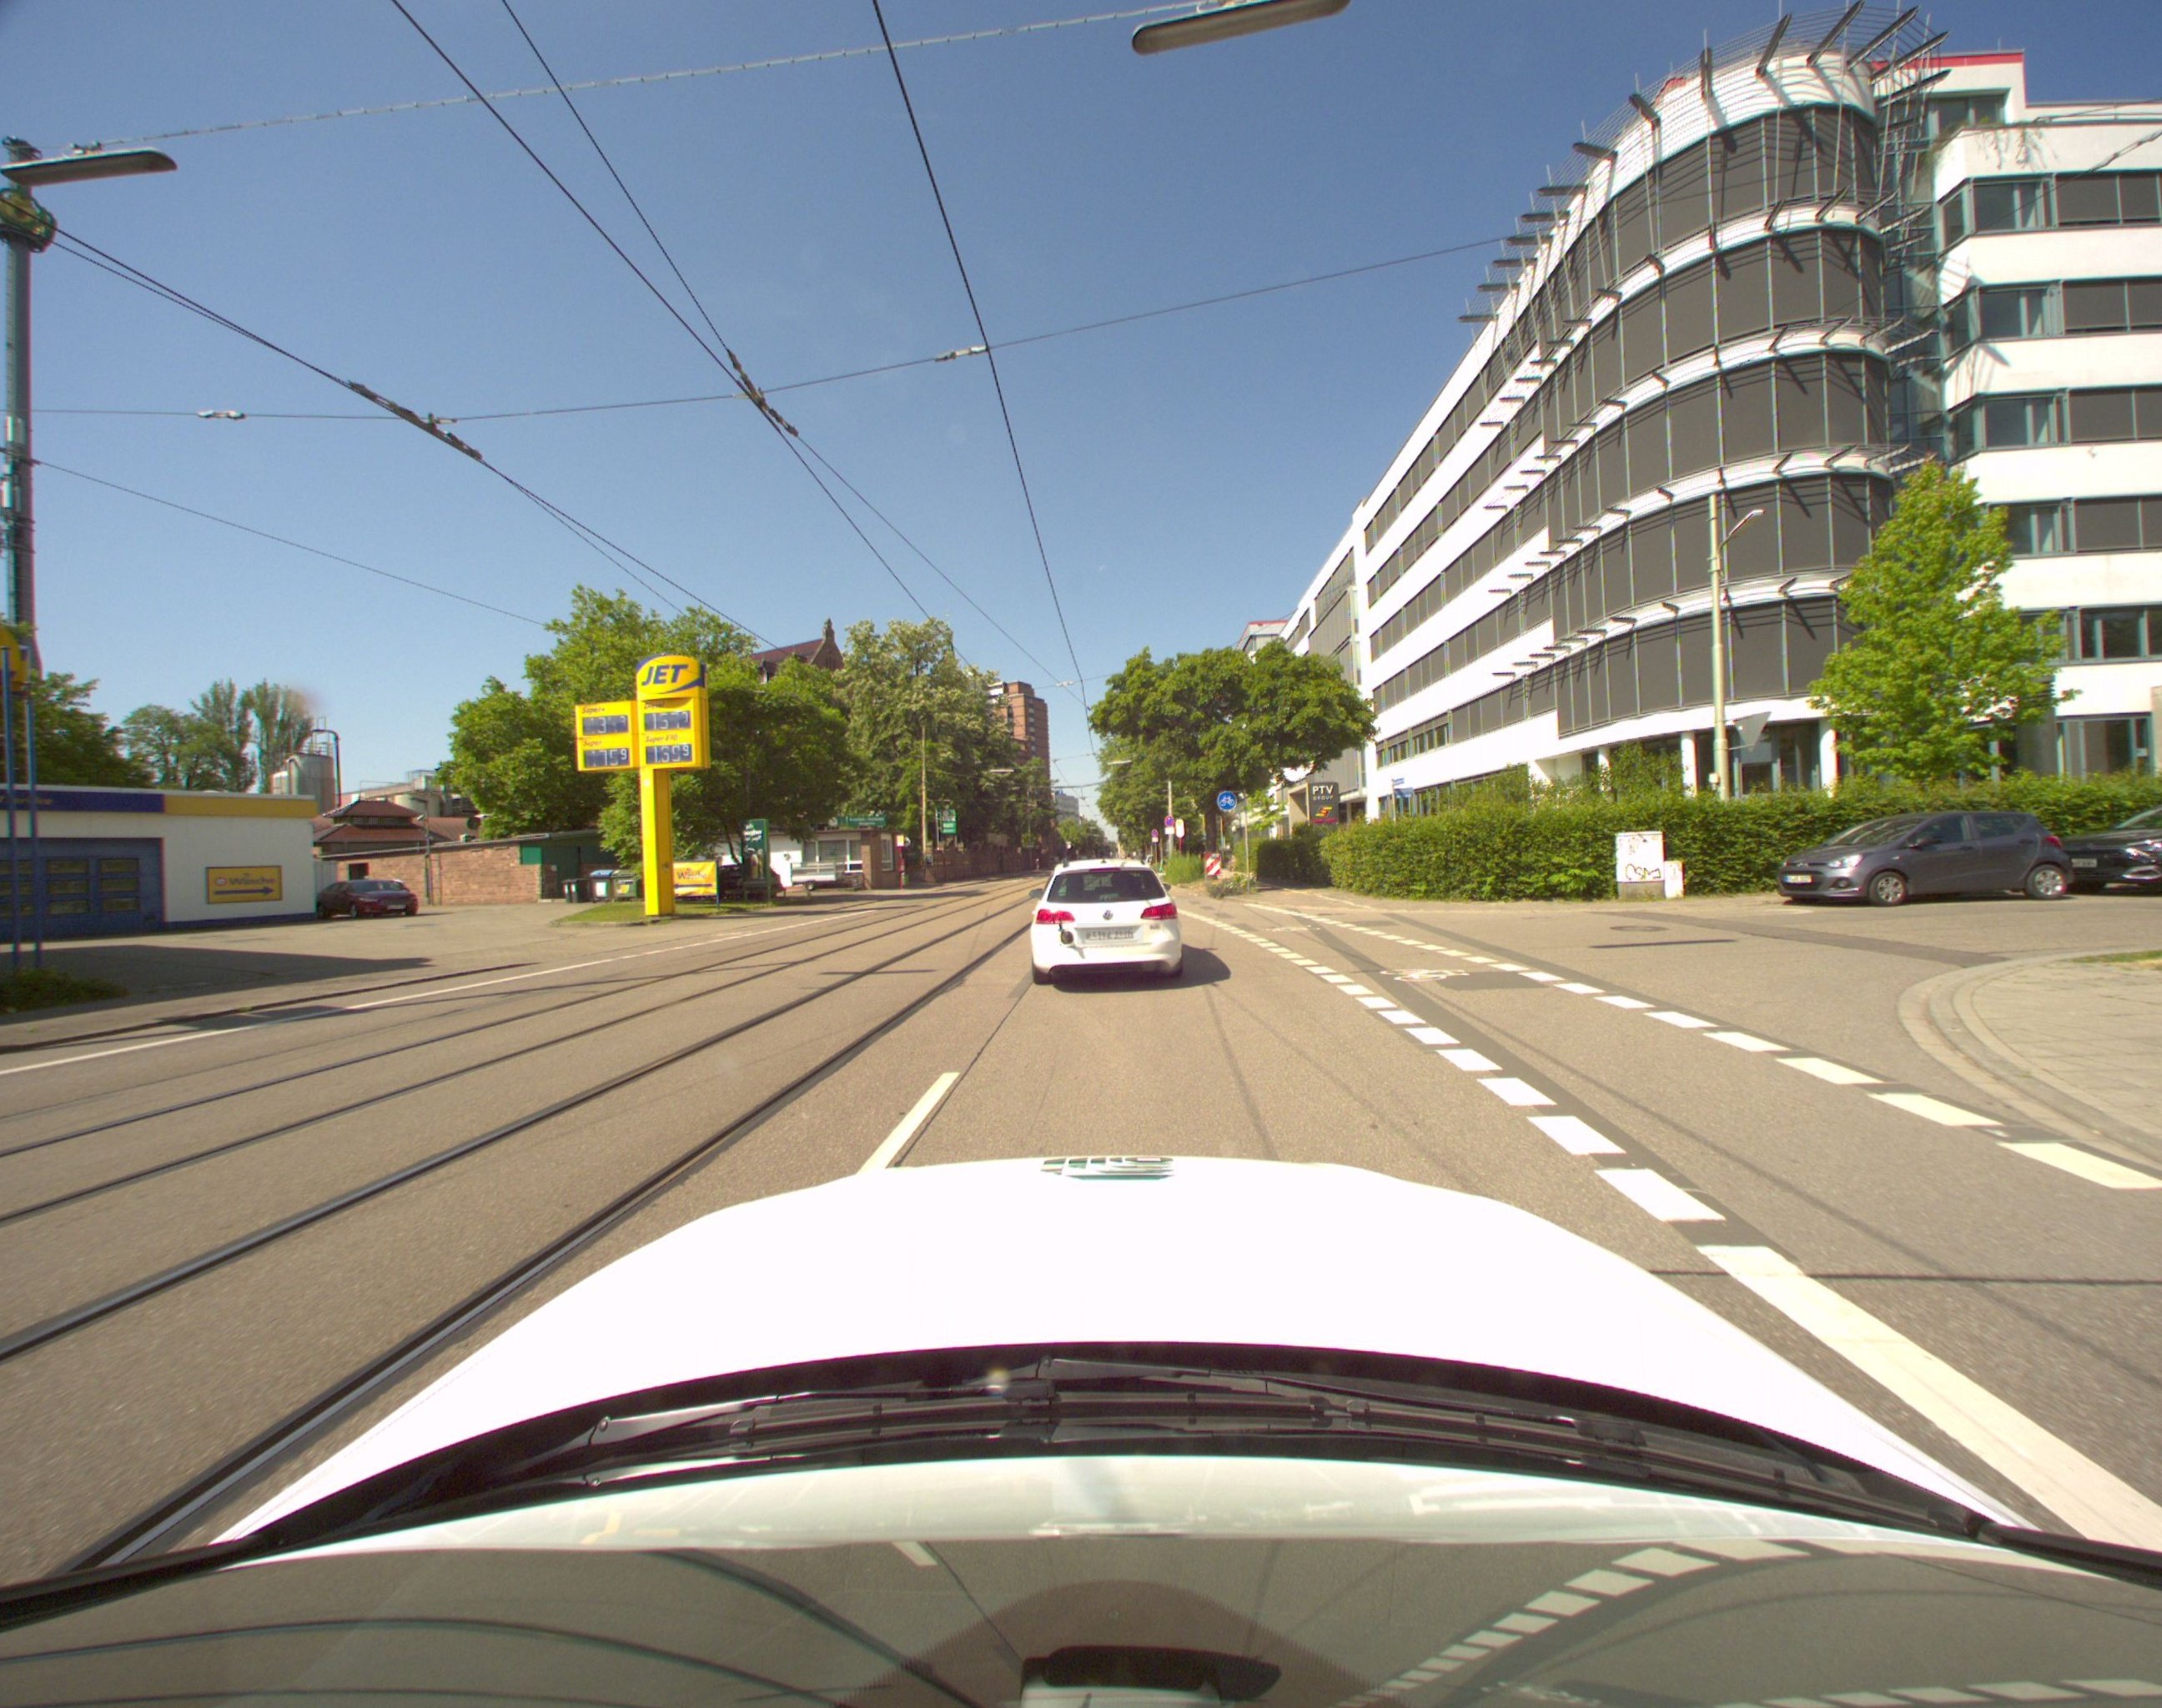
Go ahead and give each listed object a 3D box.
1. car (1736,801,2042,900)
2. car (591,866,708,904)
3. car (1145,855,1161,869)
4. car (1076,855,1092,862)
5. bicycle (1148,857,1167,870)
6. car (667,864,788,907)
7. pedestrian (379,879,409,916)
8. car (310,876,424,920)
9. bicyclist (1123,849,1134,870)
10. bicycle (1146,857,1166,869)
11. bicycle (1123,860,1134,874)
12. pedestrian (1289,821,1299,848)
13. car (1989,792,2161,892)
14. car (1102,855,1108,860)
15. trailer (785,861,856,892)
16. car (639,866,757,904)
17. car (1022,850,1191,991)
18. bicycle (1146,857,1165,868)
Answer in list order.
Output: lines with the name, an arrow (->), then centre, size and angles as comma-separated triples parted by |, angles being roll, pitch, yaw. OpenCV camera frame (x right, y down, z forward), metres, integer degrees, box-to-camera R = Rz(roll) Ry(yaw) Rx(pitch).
car -> 13.825, -0.053, 14.098 | 3.578, 1.473, 1.594 | -3, 0, 3
car -> -20.745, 1.467, 39.282 | 4.604, 1.583, 1.926 | -2, 0, -42
car -> 7.673, 0.830, 87.494 | 1.583, 1.451, 3.950 | -3, 0, 4
car -> 0.866, 1.218, 240.178 | 4.015, 1.816, 1.979 | -3, -1, -33
bicycle -> 7.194, 0.877, 76.592 | 1.768, 1.083, 0.596 | -3, -1, 0
car -> -15.841, 1.376, 36.657 | 4.604, 1.625, 1.926 | -2, 0, -43
pedestrian -> -28.253, 1.799, 33.497 | 0.672, 1.468, 0.641 | -2, -1, 12
car -> -27.230, 1.672, 31.040 | 4.118, 1.527, 1.949 | -2, -1, 28
bicyclist -> 3.772, 0.460, 65.050 | 0.782, 1.629, 0.739 | -3, -3, 3
bicycle -> 7.539, 0.894, 81.581 | 1.905, 1.083, 0.551 | -1, -1, 0
bicycle -> 3.772, 1.036, 64.879 | 0.807, 1.078, 2.014 | -2, 0, 4
pedestrian -> 14.086, -1.272, 53.890 | 0.496, 1.728, 0.547 | -2, -1, 2
car -> 18.279, -0.250, 13.691 | 3.970, 1.547, 1.659 | -3, 0, 3
car -> 7.164, 0.951, 245.285 | 1.486, 1.384, 3.646 | -3, 0, 4
trailer -> -14.254, 1.239, 44.710 | 3.201, 1.525, 1.780 | -2, 0, 4
car -> -17.891, 1.421, 38.144 | 4.604, 1.467, 1.926 | -2, 0, -43
car -> 0.351, 0.694, 10.847 | 1.747, 1.442, 4.415 | -2, 0, 2
bicycle -> 7.532, 0.893, 82.182 | 1.905, 1.083, 0.551 | 0, -1, 0
